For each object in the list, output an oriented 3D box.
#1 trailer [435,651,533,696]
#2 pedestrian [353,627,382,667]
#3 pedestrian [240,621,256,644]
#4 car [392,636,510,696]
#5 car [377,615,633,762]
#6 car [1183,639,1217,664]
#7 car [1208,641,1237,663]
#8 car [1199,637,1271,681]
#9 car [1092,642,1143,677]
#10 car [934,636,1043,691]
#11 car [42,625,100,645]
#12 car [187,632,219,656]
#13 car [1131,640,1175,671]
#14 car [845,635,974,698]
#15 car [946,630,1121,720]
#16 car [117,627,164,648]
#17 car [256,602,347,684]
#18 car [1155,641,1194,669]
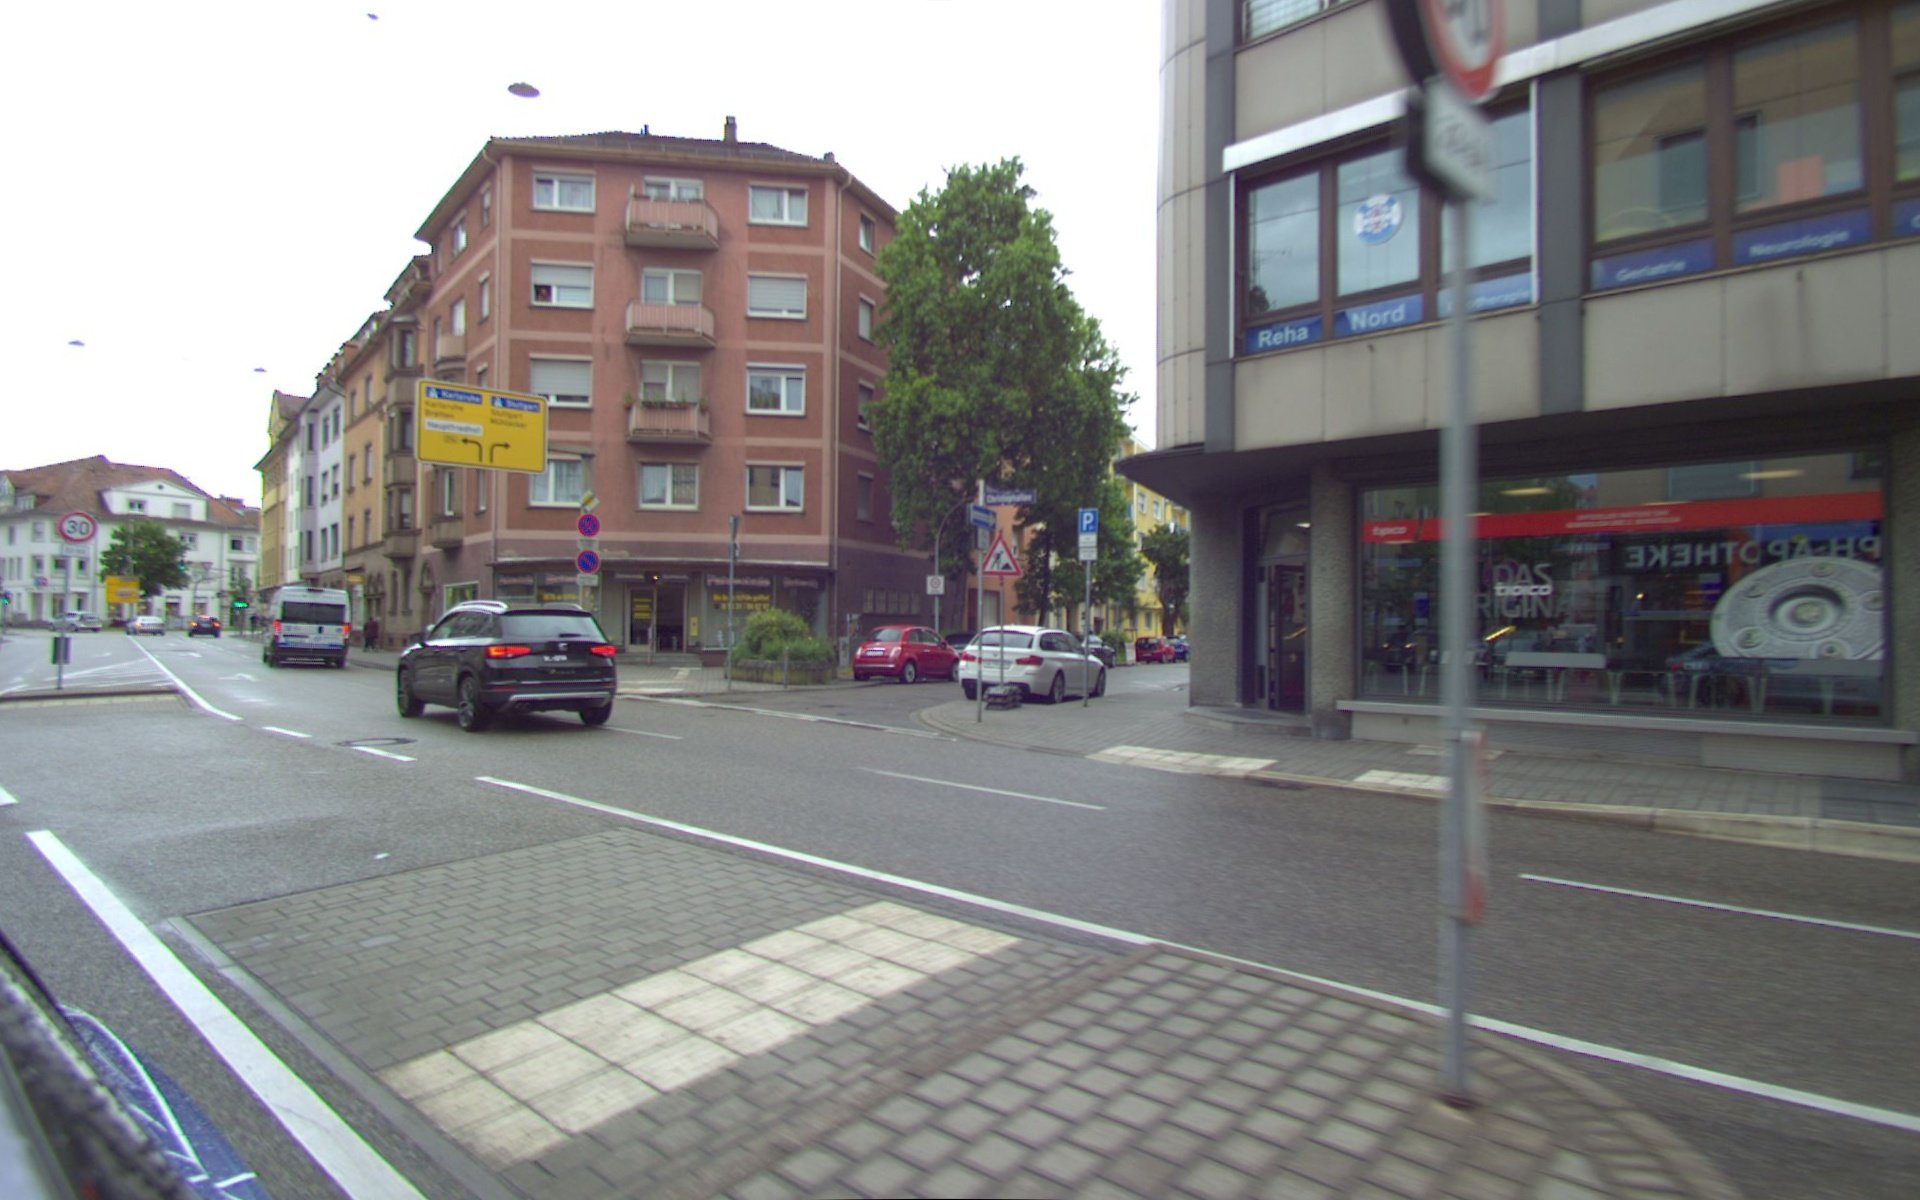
[{"bbox_3d":[-12.021,1.808,25.461,1.567,0.956,3.062,0,-1,-39],"label":"trailer"},{"bbox_3d":[-26.023,2.051,44.465,0.852,1.691,0.835,-1,1,37],"label":"pedestrian"},{"bbox_3d":[-58.439,2.678,83.076,0.882,1.784,1.034,-3,2,-42],"label":"pedestrian"},{"bbox_3d":[-14.468,1.796,28.638,1.827,1.408,4.799,-3,1,-41],"label":"car"},{"bbox_3d":[-6.292,1.099,13.736,1.723,1.674,4.420,2,-3,-45],"label":"car"},{"bbox_3d":[15.499,3.307,65.201,1.681,1.494,3.502,0,-2,21],"label":"car"},{"bbox_3d":[19.000,3.752,73.060,1.681,1.494,3.502,0,-2,21],"label":"car"},{"bbox_3d":[10.626,2.214,38.928,1.990,1.564,3.964,0,-2,26],"label":"car"},{"bbox_3d":[7.435,2.776,47.537,1.681,1.494,3.502,0,-2,21],"label":"car"},{"bbox_3d":[0.910,1.856,30.380,1.689,1.494,3.487,0,-2,33],"label":"car"},{"bbox_3d":[-72.055,2.822,81.999,4.495,1.595,1.932,0,-2,26],"label":"car"},{"bbox_3d":[-56.242,3.267,75.204,1.732,1.664,4.315,2,-2,-39],"label":"car"},{"bbox_3d":[10.057,2.874,52.581,1.681,1.494,3.502,0,-2,21],"label":"car"},{"bbox_3d":[-1.256,1.675,26.369,1.688,1.494,3.488,0,-2,32],"label":"car"},{"bbox_3d":[1.612,1.391,20.271,1.896,1.544,4.601,0,-2,27],"label":"car"},{"bbox_3d":[-62.342,2.829,76.947,4.556,1.481,1.923,-1,-2,40],"label":"car"},{"bbox_3d":[-21.817,1.357,33.406,2.059,2.454,6.367,2,-2,-37],"label":"car"},{"bbox_3d":[12.129,3.066,57.047,1.681,1.494,3.502,0,-2,21],"label":"car"}]
